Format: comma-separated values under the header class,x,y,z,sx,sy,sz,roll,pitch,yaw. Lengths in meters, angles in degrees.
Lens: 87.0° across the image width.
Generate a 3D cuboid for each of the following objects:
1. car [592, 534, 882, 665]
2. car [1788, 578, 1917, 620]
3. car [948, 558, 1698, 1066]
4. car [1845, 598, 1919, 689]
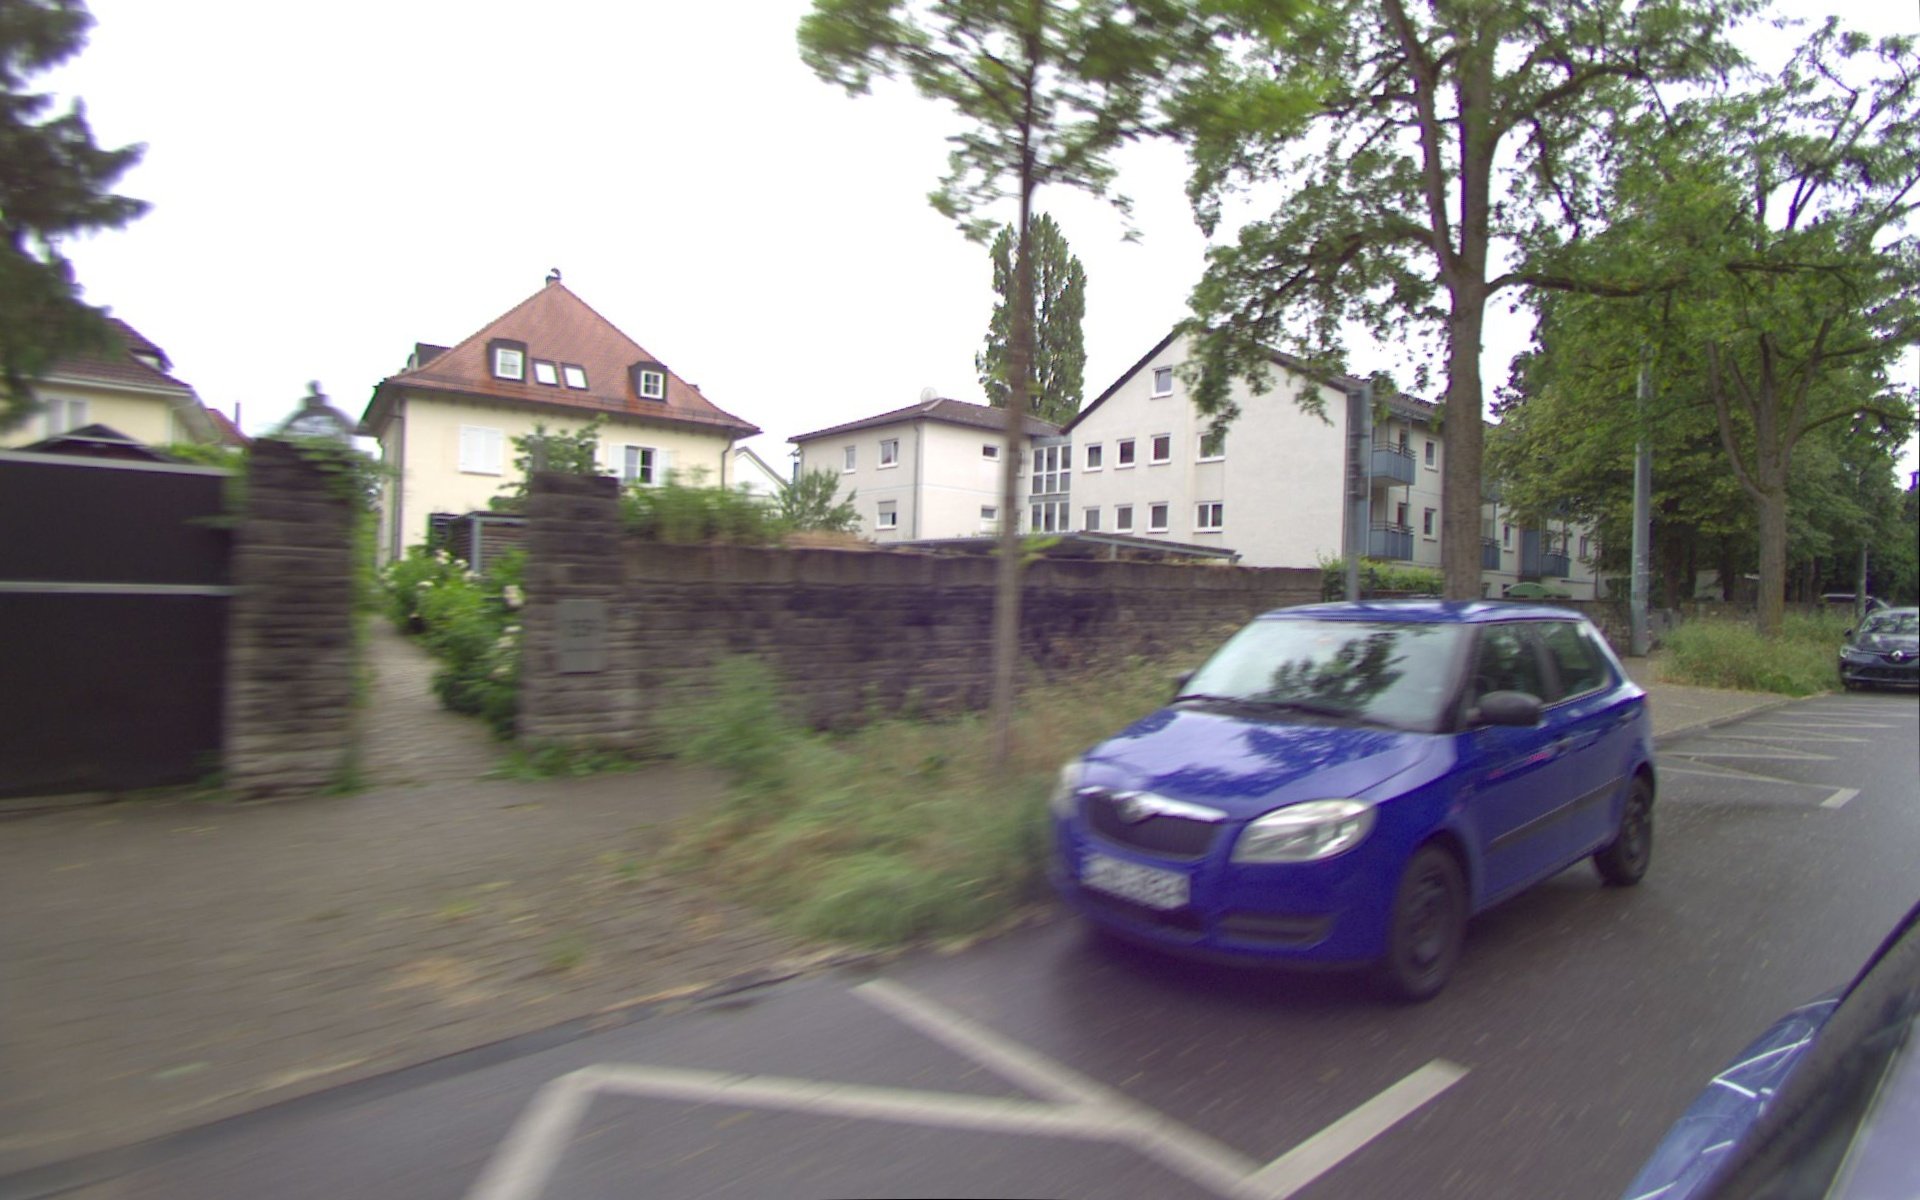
class,x,y,z,sx,sy,sz,roll,pitch,yaw
car,-3.488,-0.029,16.236,4.179,1.833,1.834,0,1,-40
car,42.707,-0.081,48.519,1.964,1.702,4.321,0,4,-39
car,2.022,0.669,5.004,3.977,1.525,1.724,1,-1,-40
car,17.215,0.740,18.057,3.896,1.498,1.743,1,-1,-43
